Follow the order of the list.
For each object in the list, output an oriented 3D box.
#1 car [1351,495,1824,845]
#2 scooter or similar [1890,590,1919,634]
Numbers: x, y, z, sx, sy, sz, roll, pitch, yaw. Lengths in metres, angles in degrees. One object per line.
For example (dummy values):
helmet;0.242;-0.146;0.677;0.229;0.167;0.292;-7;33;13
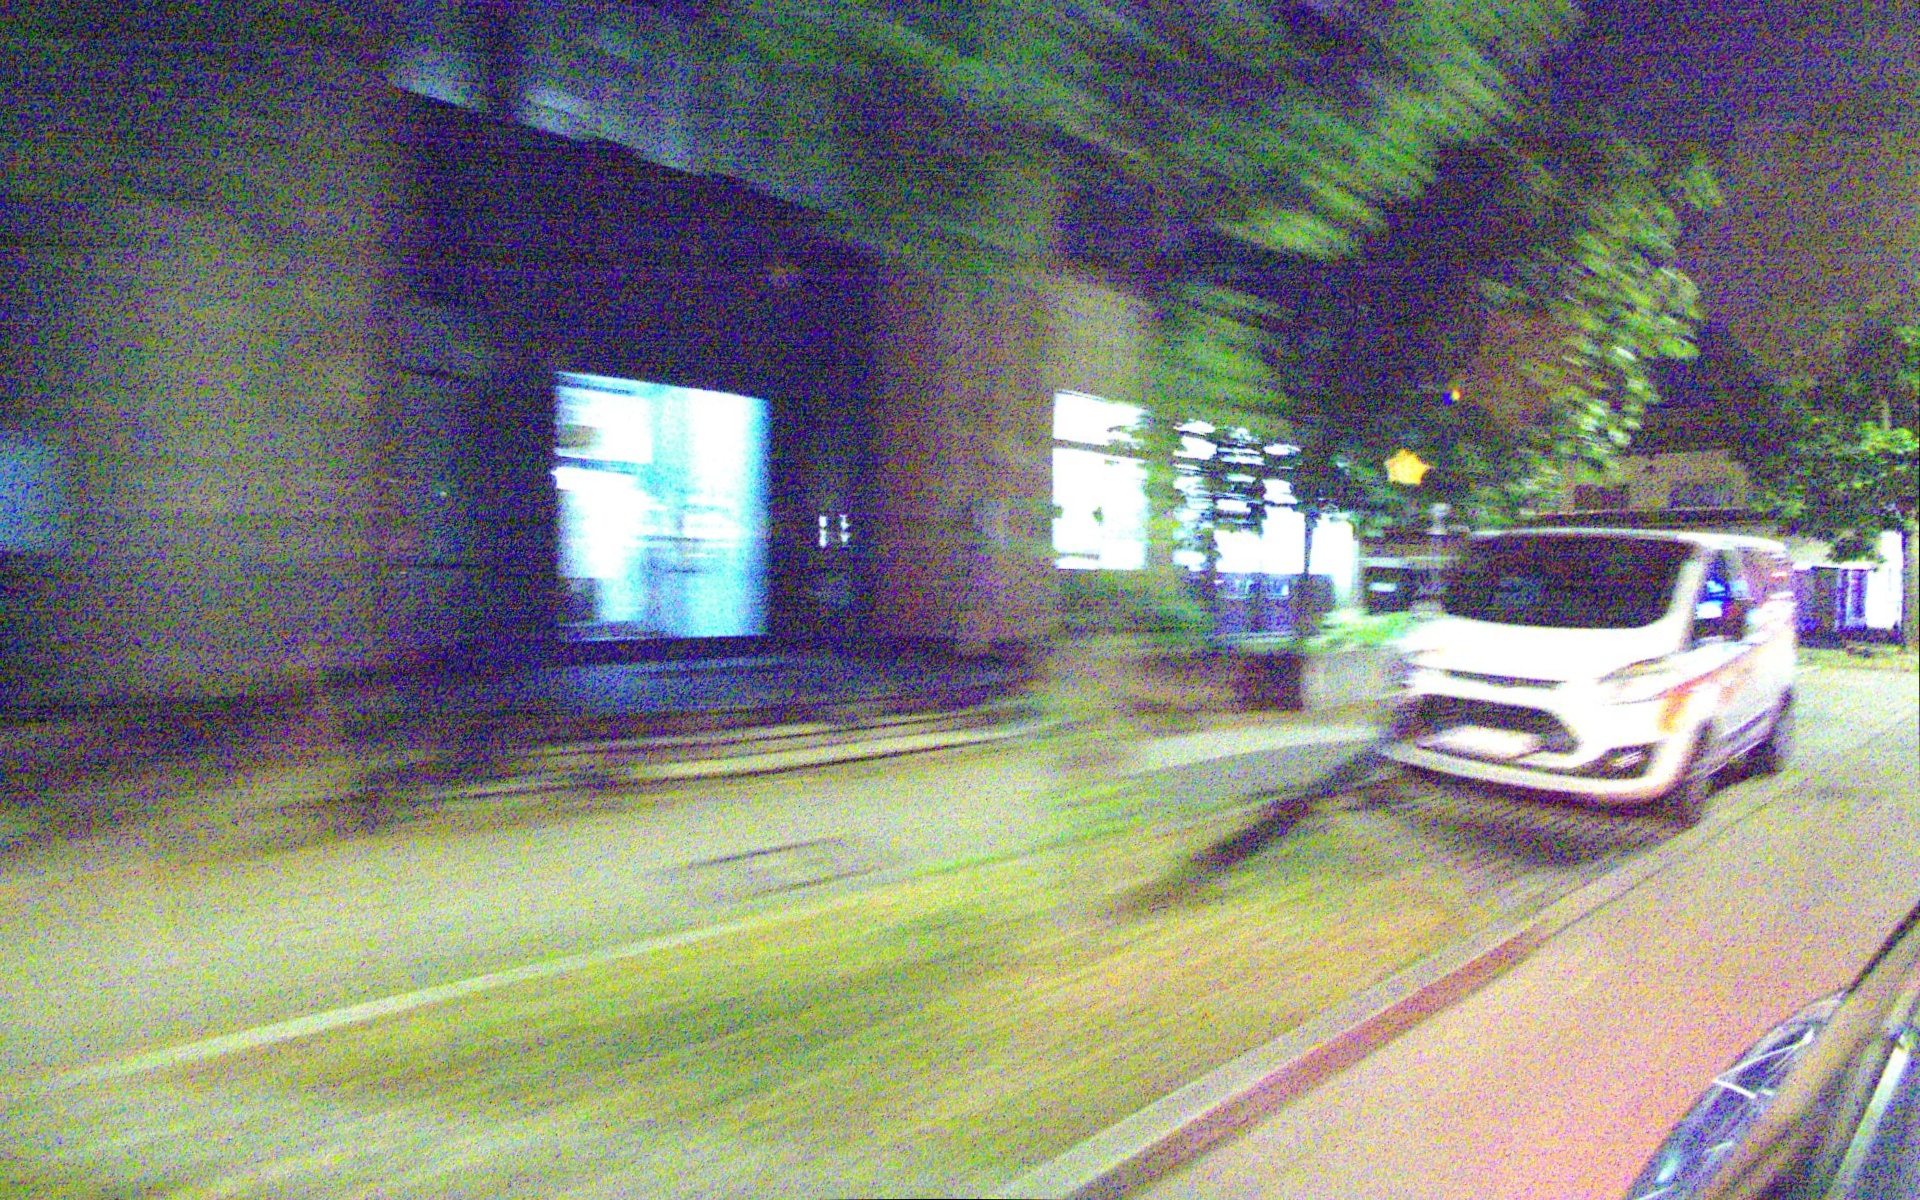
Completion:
car;5.134;0.344;7.993;4.525;1.988;1.954;0;3;-42
scooter or similar;28.903;0.341;30.801;1.877;1.217;0.549;-2;7;-41
